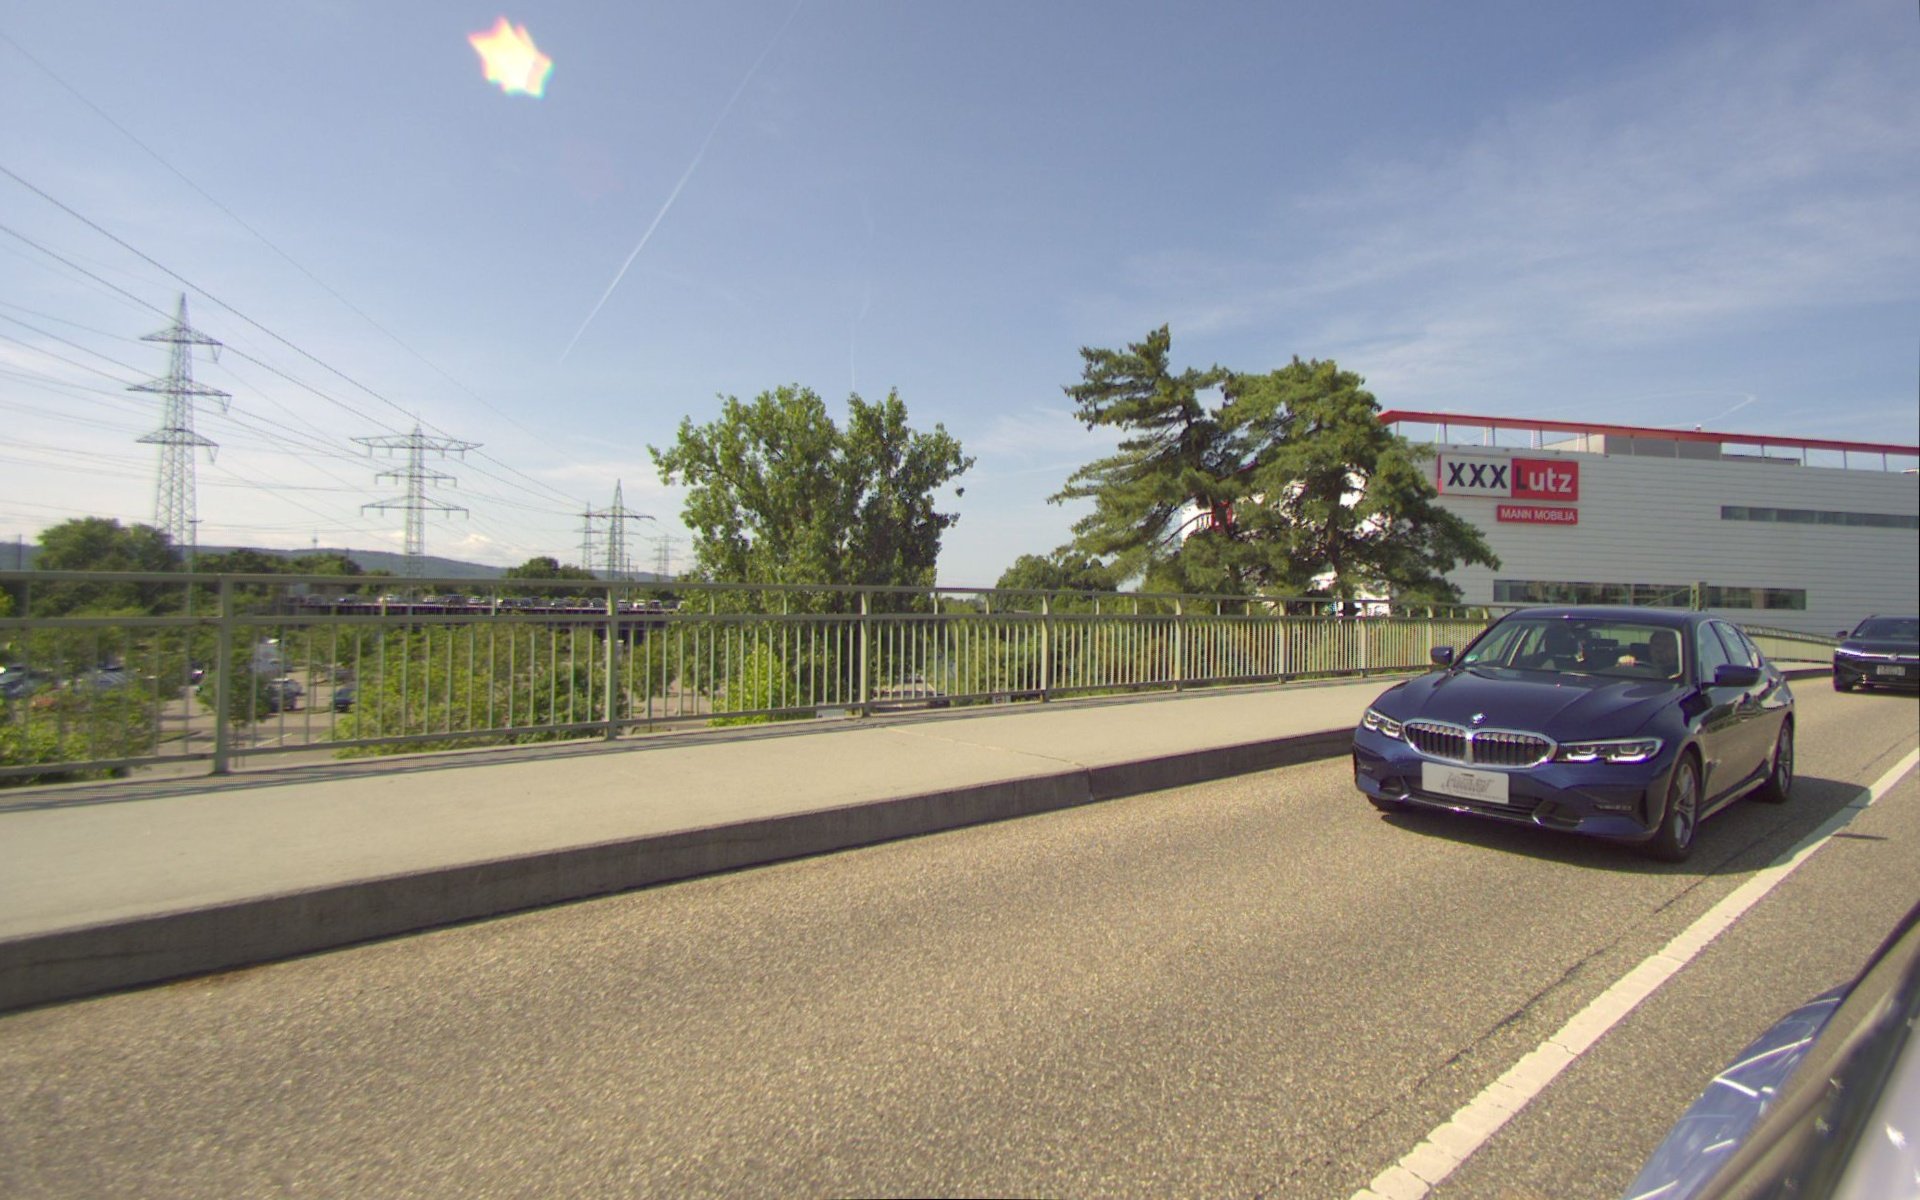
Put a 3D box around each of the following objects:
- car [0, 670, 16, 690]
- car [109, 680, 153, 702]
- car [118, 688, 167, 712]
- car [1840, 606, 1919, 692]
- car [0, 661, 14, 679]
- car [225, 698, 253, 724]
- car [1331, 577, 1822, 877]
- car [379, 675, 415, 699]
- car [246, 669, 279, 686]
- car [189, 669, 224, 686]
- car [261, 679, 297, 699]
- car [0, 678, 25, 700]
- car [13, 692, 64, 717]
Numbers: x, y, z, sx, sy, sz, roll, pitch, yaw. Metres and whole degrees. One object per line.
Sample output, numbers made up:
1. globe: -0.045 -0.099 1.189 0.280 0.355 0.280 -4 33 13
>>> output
1. car: -76.864 6.410 81.292 1.370 1.377 3.152 3 -1 -42
2. car: -64.307 7.069 78.536 1.364 1.377 3.165 2 -1 -15
3. car: -58.905 7.188 72.987 1.365 1.377 3.164 2 -1 -10
4. car: 18.675 0.938 19.693 4.072 1.549 1.859 2 -2 -42
5. car: -85.403 6.216 90.271 1.370 1.377 3.152 3 -1 -42
6. car: -48.436 7.434 68.008 1.368 1.377 3.157 3 -1 -38
7. car: 4.608 0.675 7.240 4.441 1.502 1.790 2 -1 -42
8. car: -49.145 7.554 88.392 1.958 1.747 4.008 1 0 -17
9. car: -66.173 7.341 96.039 1.365 1.377 3.164 2 -1 -10
10. car: -70.559 7.233 94.783 1.365 1.377 3.164 2 -1 -10
11. car: -58.353 7.607 86.789 1.365 1.377 3.164 2 -1 -10
12. car: -71.092 6.672 75.897 1.370 1.377 3.152 3 -1 -42
13. car: -62.675 7.094 68.850 1.364 1.377 3.165 2 -1 -19
